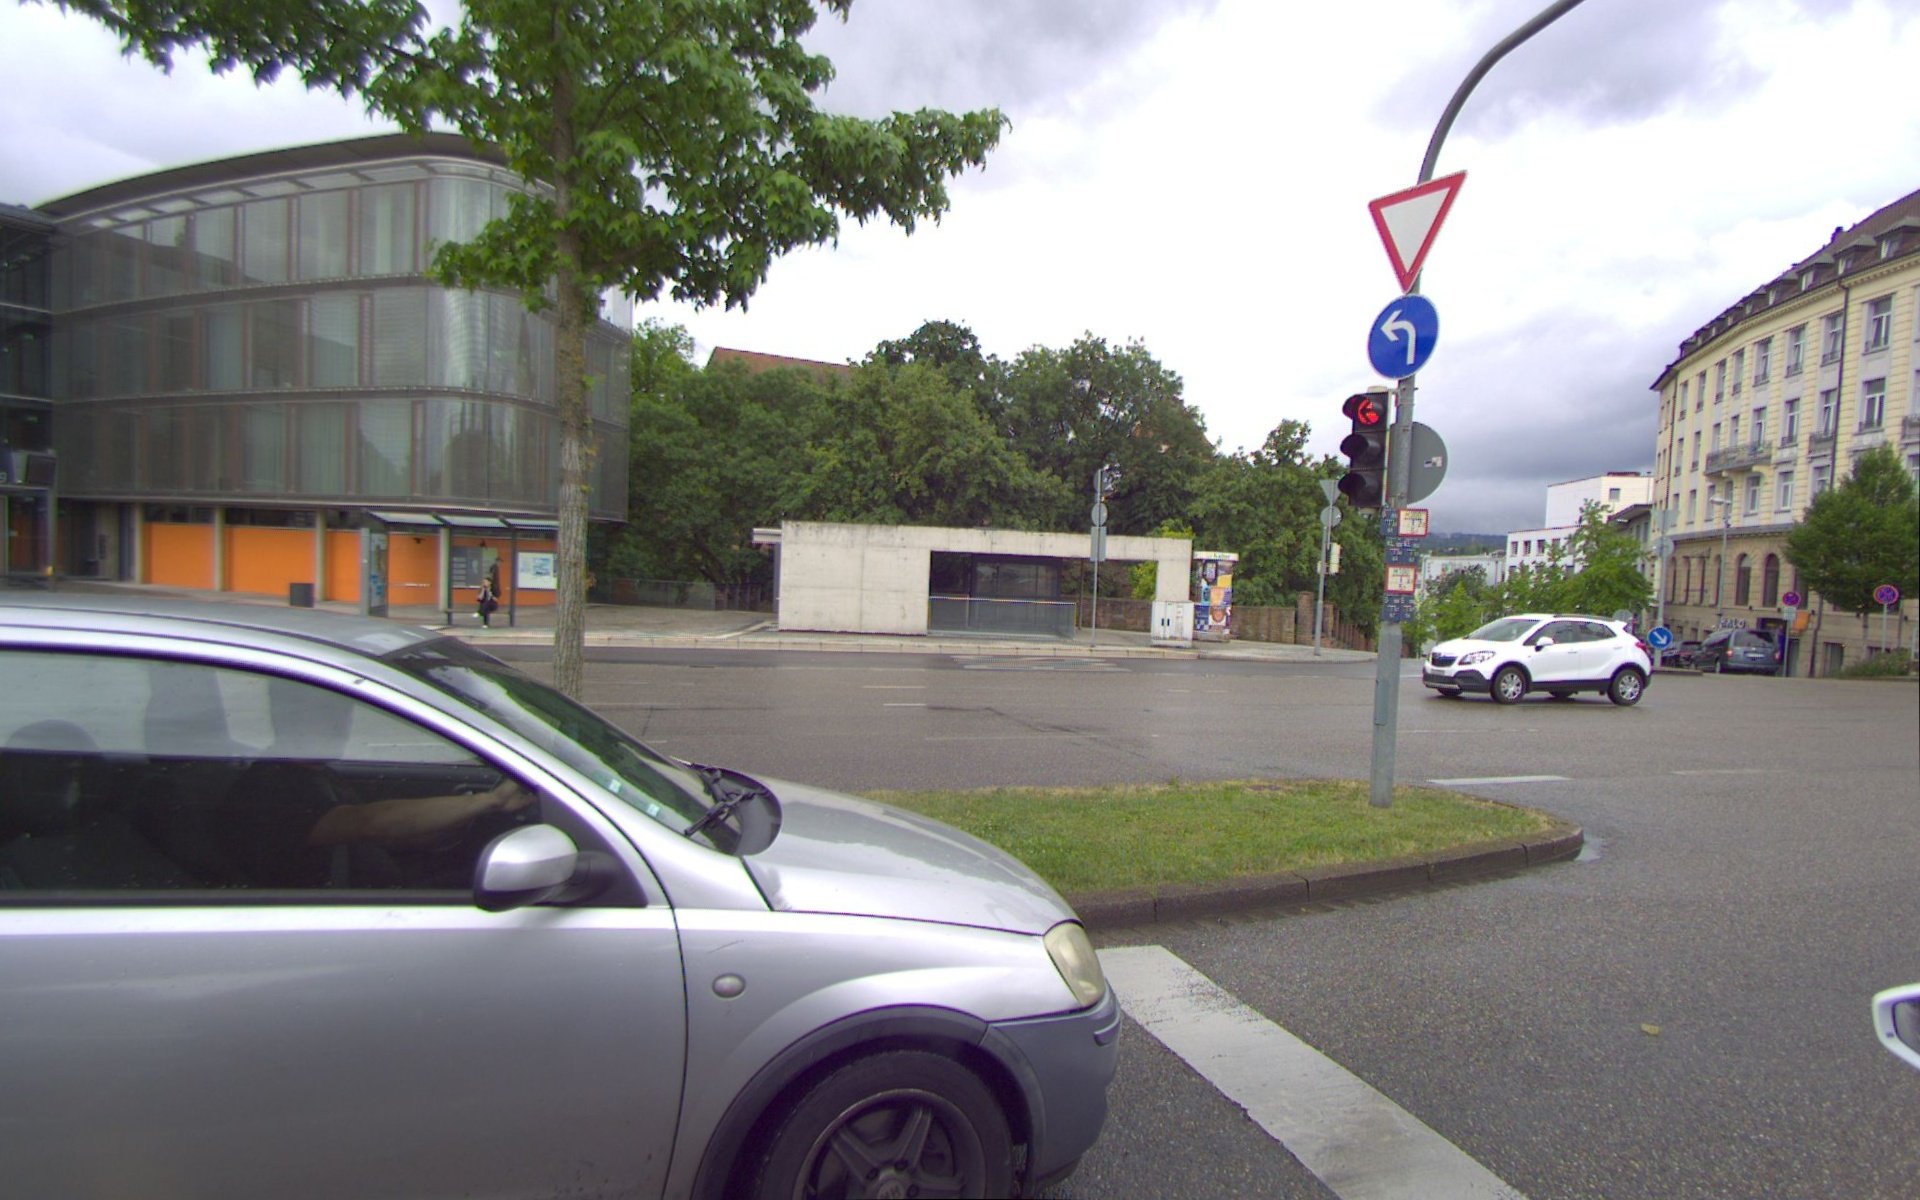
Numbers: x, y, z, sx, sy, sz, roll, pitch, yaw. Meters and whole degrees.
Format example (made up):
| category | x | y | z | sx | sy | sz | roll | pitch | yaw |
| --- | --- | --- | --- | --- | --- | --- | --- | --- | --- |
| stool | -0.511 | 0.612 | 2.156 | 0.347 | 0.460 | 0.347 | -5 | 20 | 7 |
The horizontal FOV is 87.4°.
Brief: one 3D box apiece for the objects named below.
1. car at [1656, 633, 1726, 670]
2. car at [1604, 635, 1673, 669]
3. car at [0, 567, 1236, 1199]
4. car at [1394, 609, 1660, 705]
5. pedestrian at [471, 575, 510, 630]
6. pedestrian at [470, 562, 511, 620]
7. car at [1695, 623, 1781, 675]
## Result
| category | x | y | z | sx | sy | sz | roll | pitch | yaw |
| --- | --- | --- | --- | --- | --- | --- | --- | --- | --- |
| car | 32.563 | 2.241 | 44.865 | 1.603 | 1.417 | 3.998 | 2 | 0 | 23 |
| car | 33.771 | 2.577 | 50.102 | 1.735 | 1.498 | 4.001 | 2 | -1 | 18 |
| car | -1.436 | 0.703 | 2.312 | 3.662 | 1.485 | 1.693 | 2 | 0 | -19 |
| car | 10.816 | 1.068 | 19.288 | 4.134 | 1.639 | 1.958 | 2 | 0 | -11 |
| pedestrian | -11.778 | 0.065 | 25.212 | 0.707 | 1.316 | 0.667 | 2 | 0 | -12 |
| pedestrian | -14.993 | -0.284 | 32.094 | 0.809 | 1.779 | 0.787 | 2 | -1 | 7 |
| car | 30.040 | 1.854 | 38.919 | 1.603 | 1.783 | 3.998 | 2 | 0 | 23 |
